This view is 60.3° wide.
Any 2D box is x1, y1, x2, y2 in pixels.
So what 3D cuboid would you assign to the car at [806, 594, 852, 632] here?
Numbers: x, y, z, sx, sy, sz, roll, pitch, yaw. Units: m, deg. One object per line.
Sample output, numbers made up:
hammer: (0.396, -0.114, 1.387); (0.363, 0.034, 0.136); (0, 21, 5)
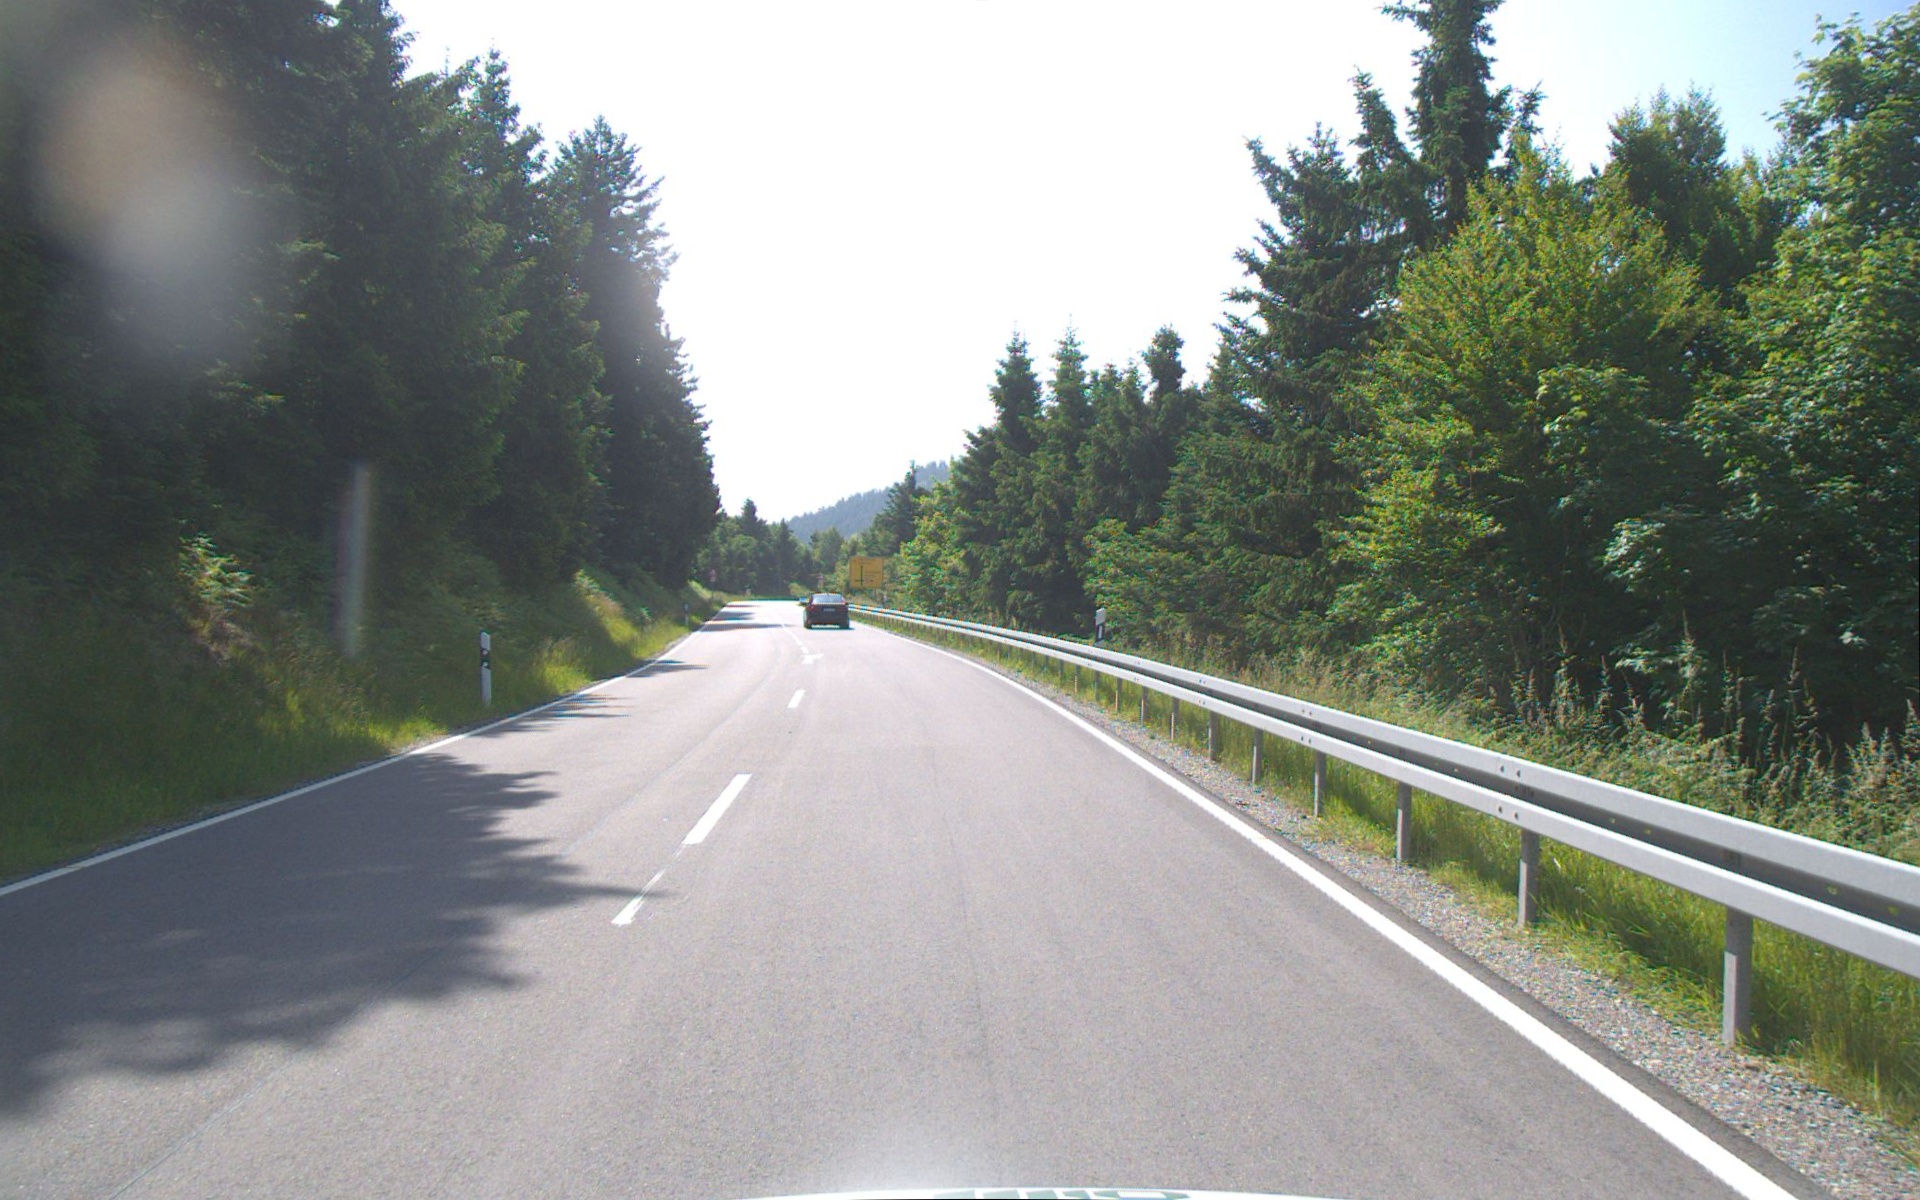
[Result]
car: (-5.420, 0.523, 68.305); (1.742, 1.467, 3.703); (-1, 0, -7)
